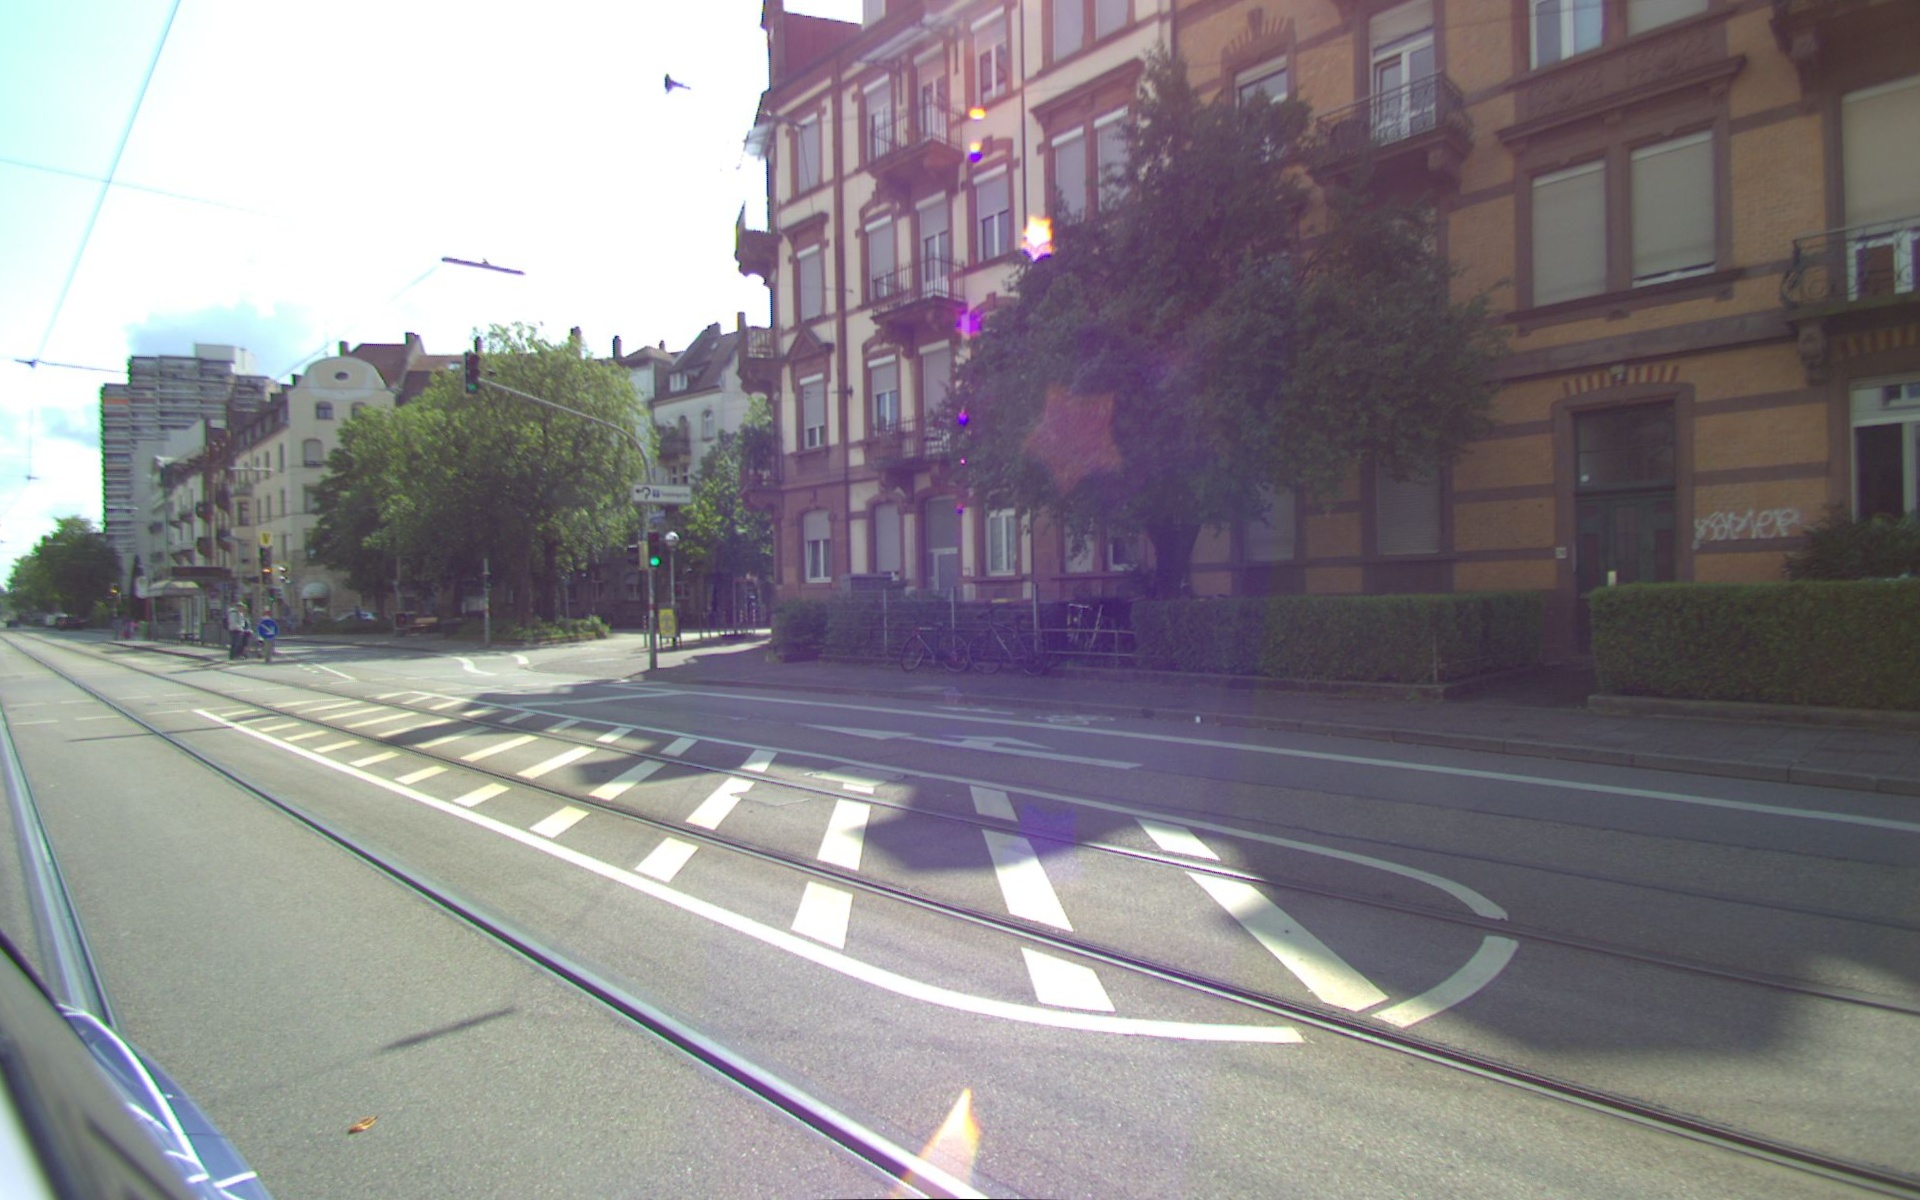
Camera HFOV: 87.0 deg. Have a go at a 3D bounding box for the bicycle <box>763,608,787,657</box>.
[{"bbox_3d":[-4.984,0.854,27.277,0.475,1.234,1.957,-1,0,-6],"label":"bicycle"}]

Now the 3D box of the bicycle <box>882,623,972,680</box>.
[{"bbox_3d":[-0.606,0.898,18.011,0.552,0.939,1.828,-1,0,-42],"label":"bicycle"}]

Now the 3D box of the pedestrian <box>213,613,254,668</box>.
[{"bbox_3d":[-21.647,1.196,30.146,0.691,1.586,0.774,-2,-1,31],"label":"pedestrian"}]

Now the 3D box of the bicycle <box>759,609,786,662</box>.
[{"bbox_3d":[-4.640,0.857,25.098,0.475,1.234,1.957,-1,0,-6],"label":"bicycle"}]

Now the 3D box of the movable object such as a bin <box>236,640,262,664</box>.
[{"bbox_3d":[-21.796,1.587,31.024,0.456,0.723,0.507,-2,-1,31],"label":"movable object such as a bin"}]

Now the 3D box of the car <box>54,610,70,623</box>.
[{"bbox_3d":[-159.065,2.987,179.280,1.815,2.209,3.894,-1,0,-45],"label":"car"}]

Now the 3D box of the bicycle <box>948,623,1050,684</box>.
[{"bbox_3d":[0.616,0.857,16.656,0.552,0.939,1.828,-1,0,-42],"label":"bicycle"}]

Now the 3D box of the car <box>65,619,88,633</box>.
[{"bbox_3d":[-101.844,2.972,116.645,1.815,1.502,3.894,-1,0,-45],"label":"car"}]

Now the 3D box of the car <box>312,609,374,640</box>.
[{"bbox_3d":[-41.808,1.646,68.638,3.368,1.866,1.618,-3,2,-26],"label":"car"}]

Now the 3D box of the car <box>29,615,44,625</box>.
[{"bbox_3d":[-170.626,3.659,186.952,1.815,1.823,3.894,-1,0,-45],"label":"car"}]

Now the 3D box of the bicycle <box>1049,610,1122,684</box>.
[{"bbox_3d":[2.060,0.748,16.522,0.497,1.139,1.290,-1,0,44],"label":"bicycle"}]

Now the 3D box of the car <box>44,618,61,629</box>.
[{"bbox_3d":[-140.773,3.646,157.011,1.815,1.502,3.894,-1,0,-45],"label":"car"}]

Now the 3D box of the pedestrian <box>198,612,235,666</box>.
[{"bbox_3d":[-22.337,1.176,30.412,0.584,1.586,0.708,-2,-1,31],"label":"pedestrian"}]
